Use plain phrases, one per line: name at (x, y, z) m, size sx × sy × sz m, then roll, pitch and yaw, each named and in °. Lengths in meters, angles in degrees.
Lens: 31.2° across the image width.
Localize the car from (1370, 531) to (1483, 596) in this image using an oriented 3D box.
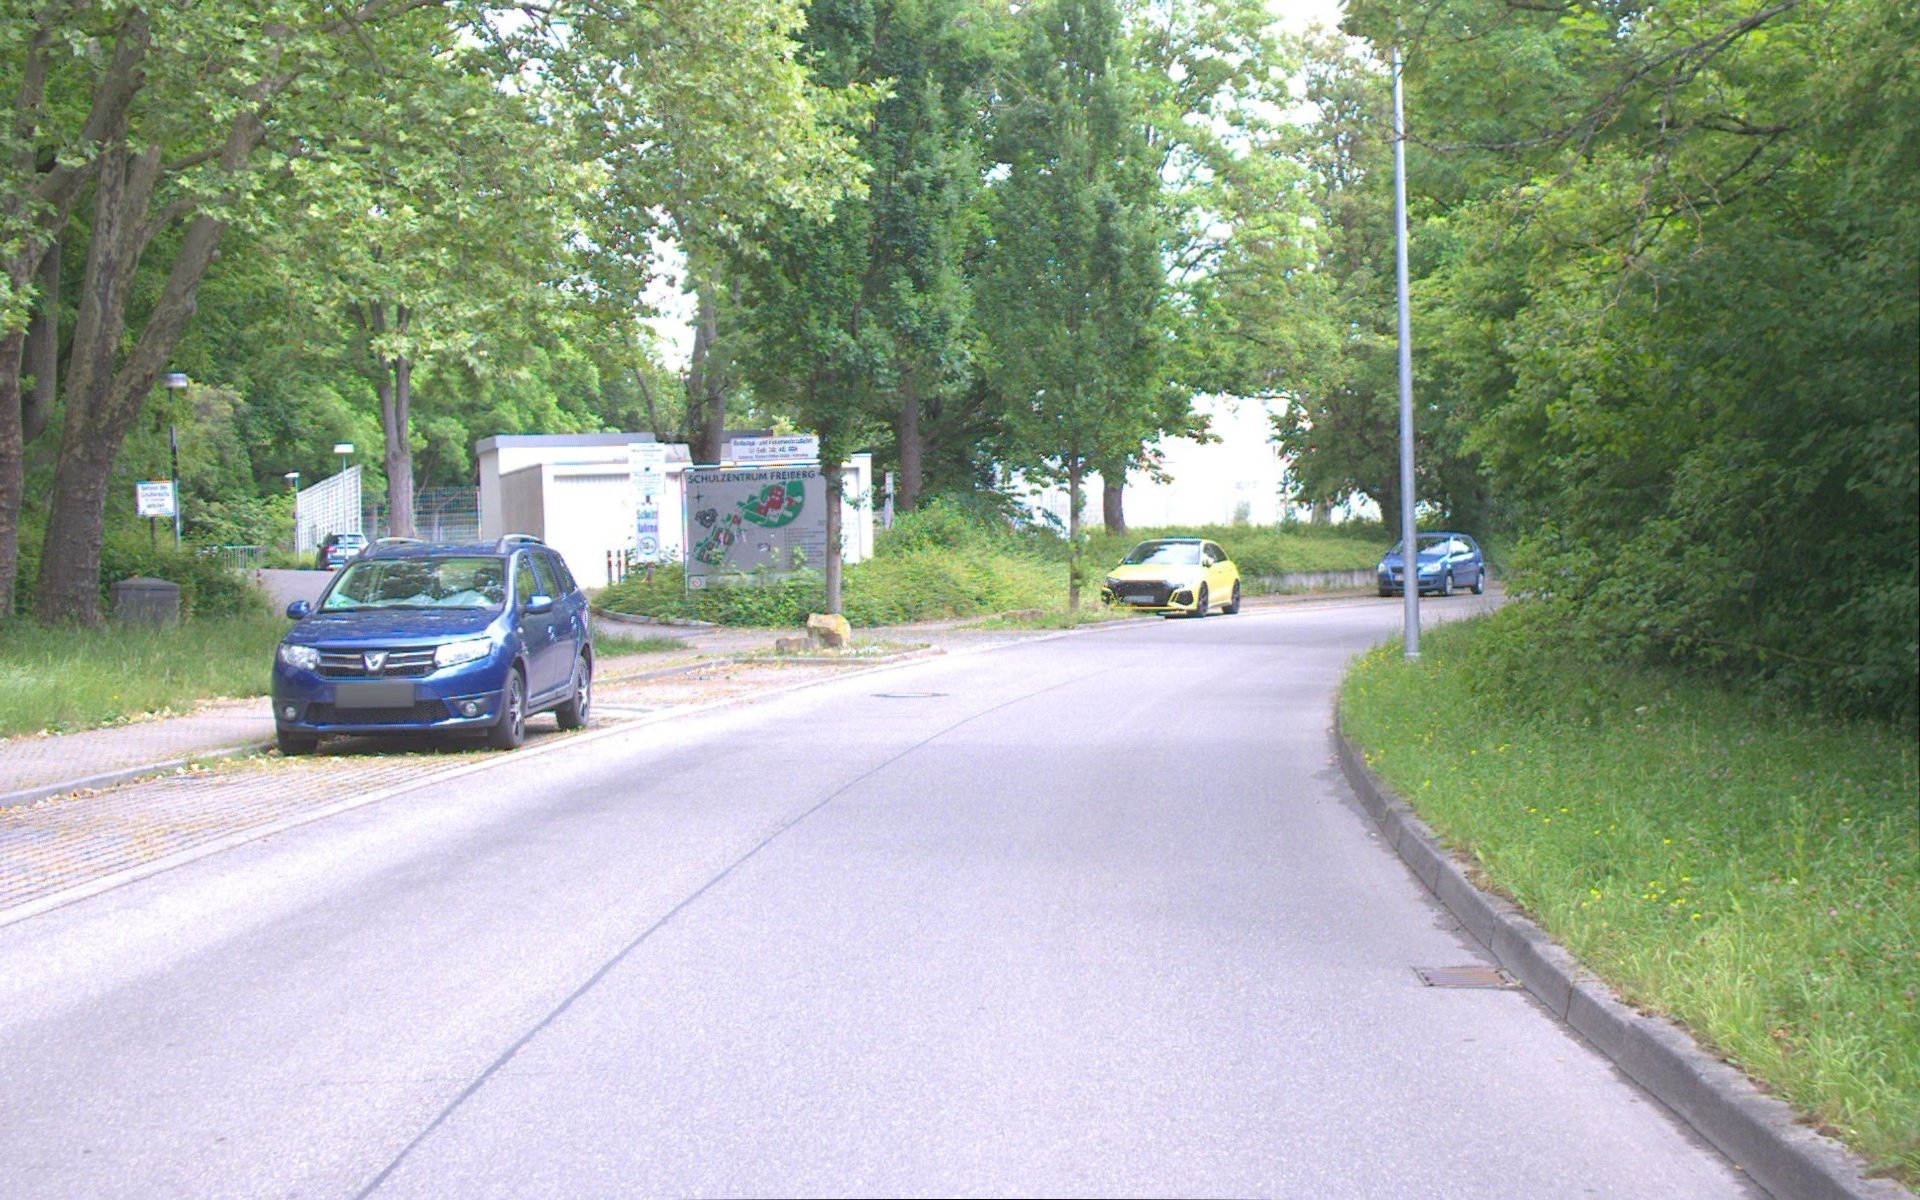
car at (10.863, -0.860, 79.828) m, size 1.535 × 1.454 × 3.715 m, roll -1°, pitch 1°, yaw 25°

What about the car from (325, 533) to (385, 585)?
car at (-21.517, -1.479, 122.401) m, size 1.872 × 1.740 × 4.001 m, roll -2°, pitch 1°, yaw -7°

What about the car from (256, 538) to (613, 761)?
car at (-3.831, 0.305, 25.792) m, size 1.680 × 1.506 × 4.431 m, roll -1°, pitch 1°, yaw 4°

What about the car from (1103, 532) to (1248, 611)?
car at (4.001, -0.531, 63.292) m, size 1.701 × 1.398 × 4.270 m, roll 0°, pitch 1°, yaw 17°
